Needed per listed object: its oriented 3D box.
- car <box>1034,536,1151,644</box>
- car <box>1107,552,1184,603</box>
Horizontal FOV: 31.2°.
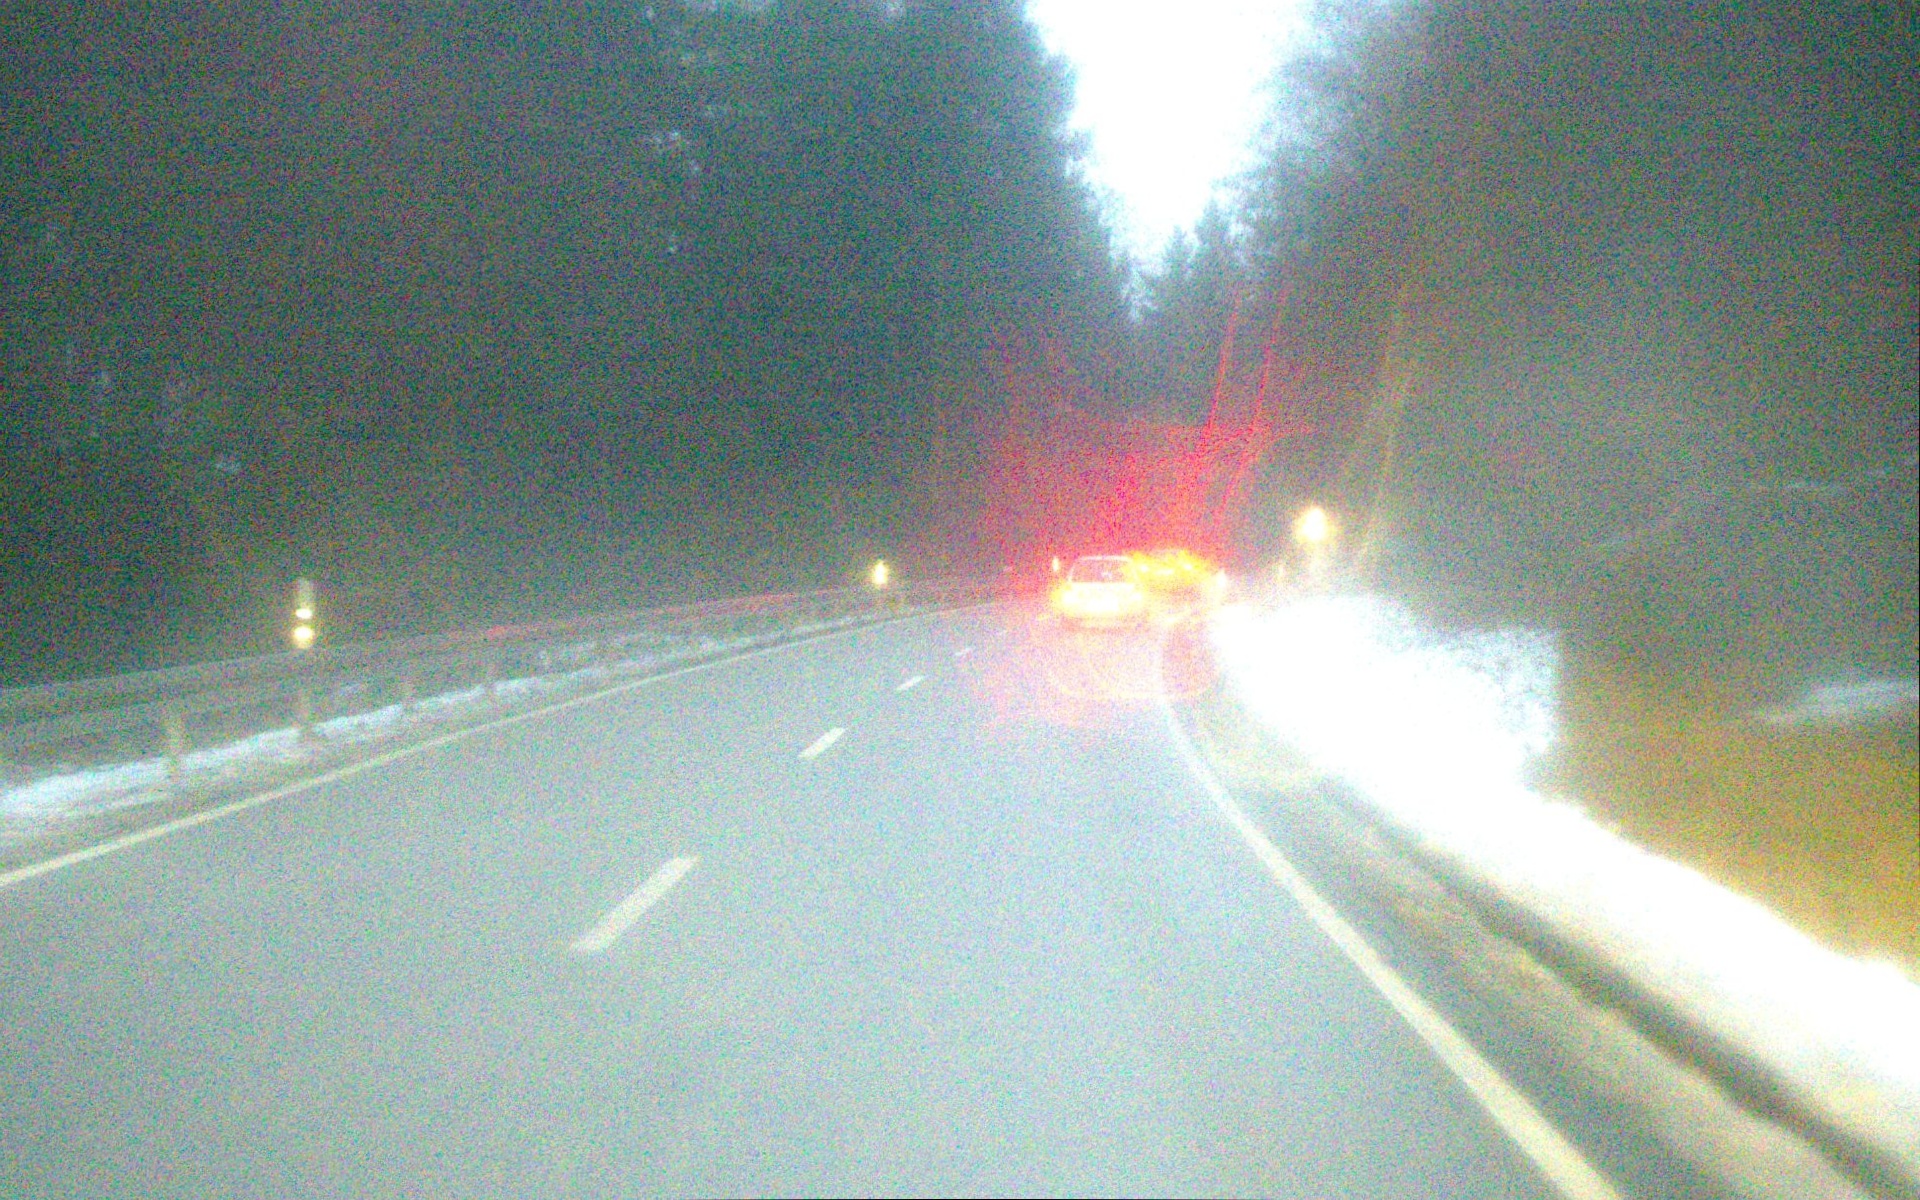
[{"bbox_3d":[2.508,-0.220,66.013,1.993,1.866,4.000,-4,1,0],"label":"car"},{"bbox_3d":[5.454,-0.670,101.462,1.993,1.305,4.000,-4,1,0],"label":"car"}]
